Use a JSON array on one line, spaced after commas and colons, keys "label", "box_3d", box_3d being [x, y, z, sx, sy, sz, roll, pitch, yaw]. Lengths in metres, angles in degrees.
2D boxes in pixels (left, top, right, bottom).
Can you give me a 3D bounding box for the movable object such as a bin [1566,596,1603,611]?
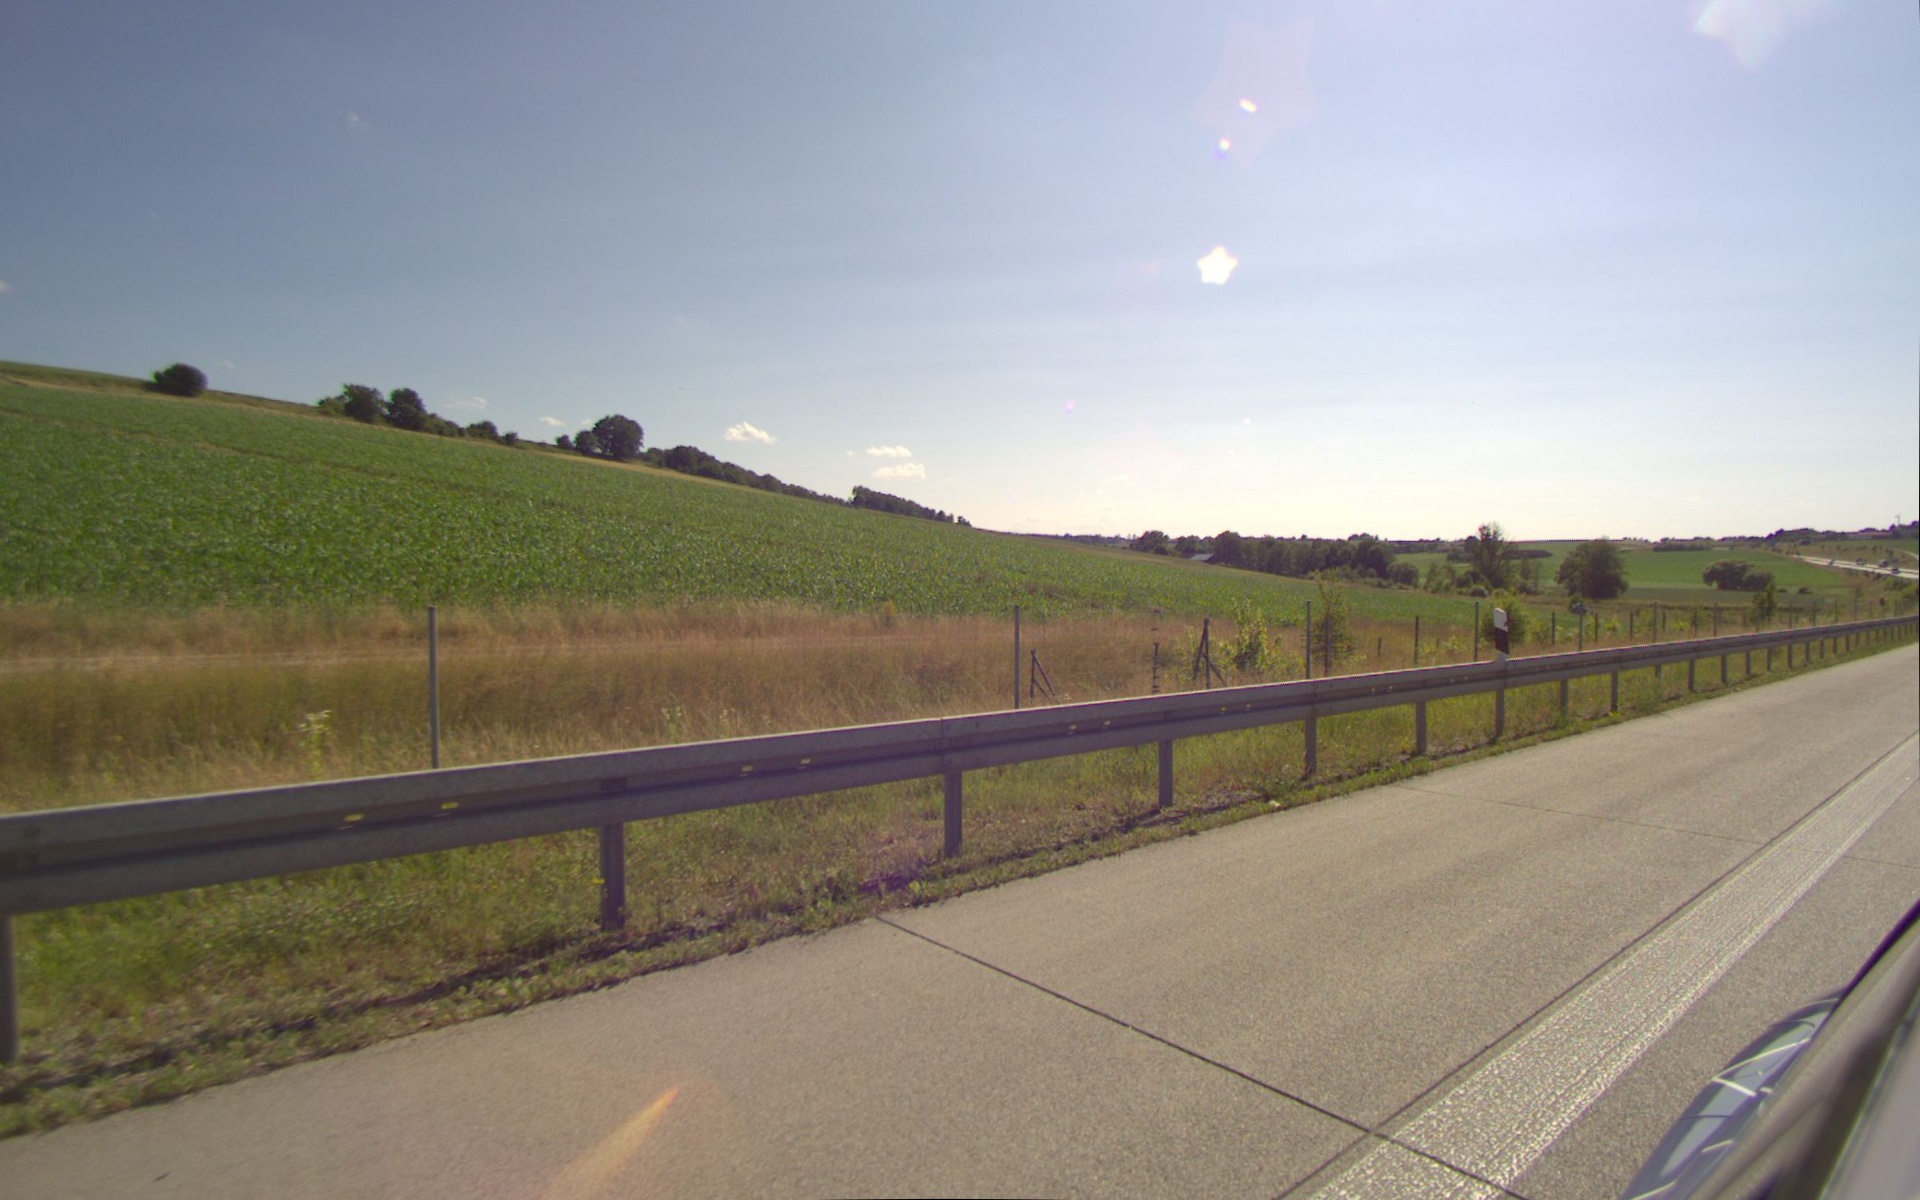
[{"label": "movable object such as a bin", "box_3d": [126.181, 0.708, 204.530, 3.221, 2.805, 6.240, -2, 2, -5]}]
